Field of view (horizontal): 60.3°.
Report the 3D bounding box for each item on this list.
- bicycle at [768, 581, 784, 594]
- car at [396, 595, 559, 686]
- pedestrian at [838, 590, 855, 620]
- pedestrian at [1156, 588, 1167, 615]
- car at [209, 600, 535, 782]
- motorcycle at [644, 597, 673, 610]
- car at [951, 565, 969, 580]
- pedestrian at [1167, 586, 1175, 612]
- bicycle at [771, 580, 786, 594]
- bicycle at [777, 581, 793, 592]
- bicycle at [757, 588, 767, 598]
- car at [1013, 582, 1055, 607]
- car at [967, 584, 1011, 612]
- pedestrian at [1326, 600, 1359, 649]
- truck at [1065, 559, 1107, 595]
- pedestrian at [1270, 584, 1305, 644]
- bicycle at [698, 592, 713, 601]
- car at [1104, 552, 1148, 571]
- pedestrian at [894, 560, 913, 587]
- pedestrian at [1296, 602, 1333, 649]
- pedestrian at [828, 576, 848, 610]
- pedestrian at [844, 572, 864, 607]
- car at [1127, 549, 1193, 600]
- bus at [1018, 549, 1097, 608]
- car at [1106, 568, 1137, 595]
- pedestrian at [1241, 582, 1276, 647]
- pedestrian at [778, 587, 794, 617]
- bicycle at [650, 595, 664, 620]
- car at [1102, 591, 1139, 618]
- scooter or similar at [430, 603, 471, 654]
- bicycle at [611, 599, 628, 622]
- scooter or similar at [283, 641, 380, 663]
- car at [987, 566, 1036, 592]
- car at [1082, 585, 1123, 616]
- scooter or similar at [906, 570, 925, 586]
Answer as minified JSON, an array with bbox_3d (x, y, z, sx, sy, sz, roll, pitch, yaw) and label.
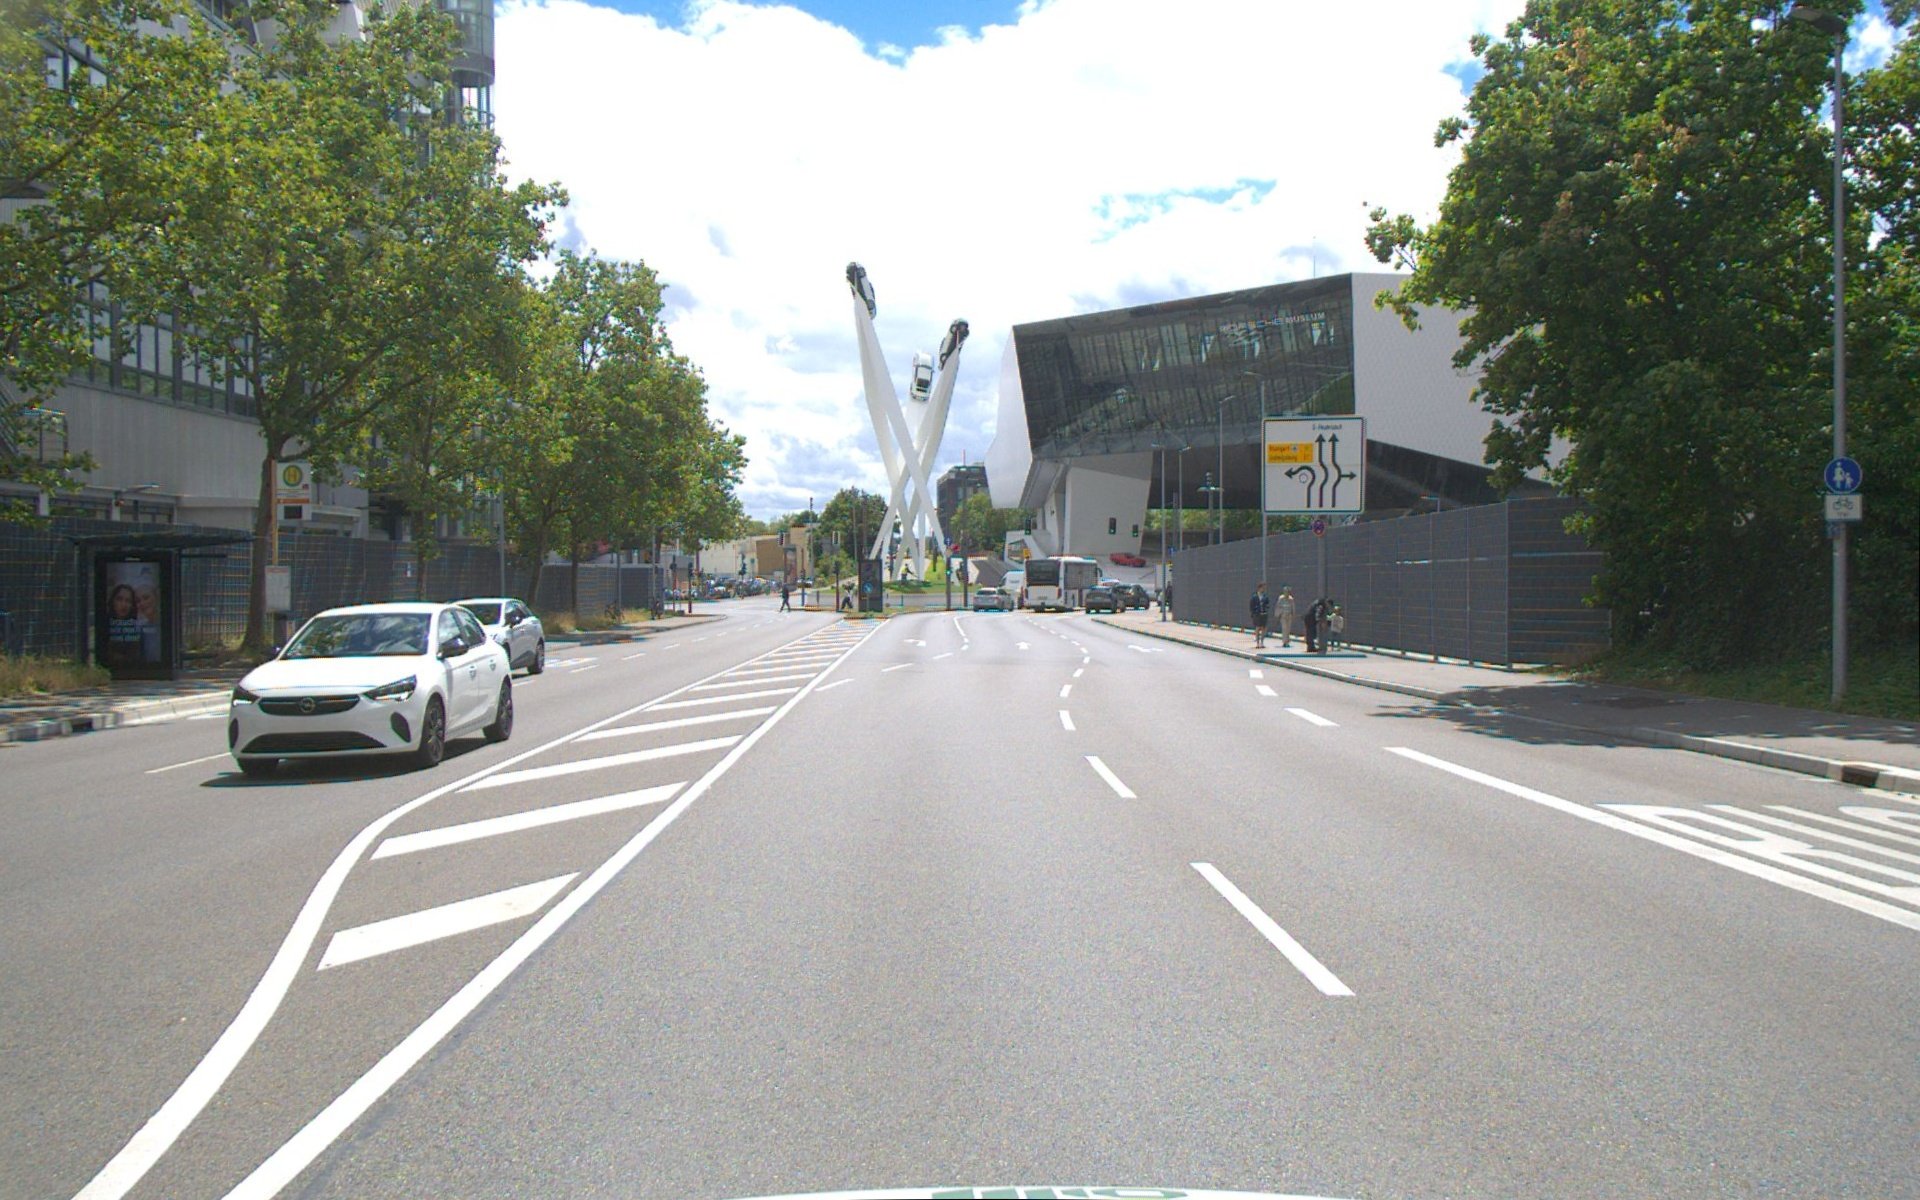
[{"bbox_3d":[-19.028,-1.282,170.766,1.573,1.339,0.492,1,-1,-2],"label":"bicycle"},{"bbox_3d":[-9.151,0.716,31.740,1.840,1.532,4.191,-2,1,0],"label":"car"},{"bbox_3d":[-6.848,0.287,99.778,0.849,1.805,1.031,1,-1,-14],"label":"pedestrian"},{"bbox_3d":[12.308,0.102,101.006,0.645,1.636,0.823,1,-1,10],"label":"pedestrian"},{"bbox_3d":[-5.436,0.759,15.879,1.657,1.439,4.145,-2,0,-1],"label":"car"},{"bbox_3d":[-31.256,0.353,171.379,2.842,1.217,0.920,1,-1,18],"label":"motorcycle"},{"bbox_3d":[0.023,-3.194,190.605,1.952,1.664,4.657,1,2,1],"label":"car"},{"bbox_3d":[13.189,-0.055,103.431,0.454,1.644,0.663,1,-1,2],"label":"pedestrian"},{"bbox_3d":[-18.907,-1.330,172.213,1.573,1.407,0.492,1,-1,-2],"label":"bicycle"},{"bbox_3d":[-19.029,-1.500,179.940,1.702,1.202,0.670,1,1,-2],"label":"bicycle"},{"bbox_3d":[-20.125,-0.704,168.064,0.480,0.881,1.613,-1,3,10],"label":"bicycle"},{"bbox_3d":[5.155,-0.385,114.821,1.951,1.665,4.002,1,0,17],"label":"car"},{"bbox_3d":[1.767,-0.103,101.083,1.951,1.665,4.003,1,0,12],"label":"car"},{"bbox_3d":[9.725,0.623,42.076,0.699,1.228,0.599,1,-1,3],"label":"pedestrian"},{"bbox_3d":[9.628,-1.732,125.703,2.160,2.560,5.136,1,0,16],"label":"truck"},{"bbox_3d":[8.906,0.376,44.964,0.778,1.625,0.731,1,-1,-1],"label":"pedestrian"},{"bbox_3d":[-25.309,-0.388,164.274,1.577,0.881,0.491,1,-1,34],"label":"bicycle"},{"bbox_3d":[17.622,-4.108,175.394,1.985,1.418,4.443,-5,11,-44],"label":"car"},{"bbox_3d":[-4.154,-1.927,120.816,1.255,1.847,0.987,-3,4,1],"label":"pedestrian"},{"bbox_3d":[8.958,0.648,41.835,0.742,1.169,0.972,1,-1,2],"label":"pedestrian"},{"bbox_3d":[-7.530,-0.451,102.331,0.932,2.091,0.951,1,-1,18],"label":"pedestrian"},{"bbox_3d":[-6.515,-0.645,101.649,0.932,2.091,0.951,1,-1,18],"label":"pedestrian"},{"bbox_3d":[15.247,-1.854,125.365,3.265,3.565,9.346,1,0,17],"label":"car"},{"bbox_3d":[6.354,-1.267,105.204,3.006,3.421,12.232,1,0,13],"label":"bus"},{"bbox_3d":[12.580,-1.431,128.753,1.951,1.966,4.244,1,0,12],"label":"car"},{"bbox_3d":[8.088,0.394,44.860,0.778,1.751,0.731,1,-1,-1],"label":"pedestrian"},{"bbox_3d":[-10.857,0.124,103.281,0.849,1.805,1.031,1,-1,-14],"label":"pedestrian"},{"bbox_3d":[-14.595,0.358,79.682,0.290,1.151,1.485,1,0,2],"label":"bicycle"},{"bbox_3d":[10.298,0.306,105.996,1.951,1.665,4.003,1,0,12],"label":"car"},{"bbox_3d":[-13.233,0.739,42.971,0.512,1.256,1.318,3,1,6],"label":"scooter or similar"},{"bbox_3d":[-15.063,0.474,73.242,0.290,1.023,1.253,1,0,9],"label":"bicycle"},{"bbox_3d":[-13.808,1.139,36.357,1.336,0.386,1.485,4,1,34],"label":"scooter or similar"},{"bbox_3d":[4.516,-1.799,144.813,1.975,2.209,4.601,1,-1,-33],"label":"car"},{"bbox_3d":[8.621,0.014,99.687,1.951,1.665,4.004,1,2,12],"label":"car"},{"bbox_3d":[-3.256,-1.605,121.066,1.372,1.043,0.550,-2,6,-1],"label":"scooter or similar"}]
